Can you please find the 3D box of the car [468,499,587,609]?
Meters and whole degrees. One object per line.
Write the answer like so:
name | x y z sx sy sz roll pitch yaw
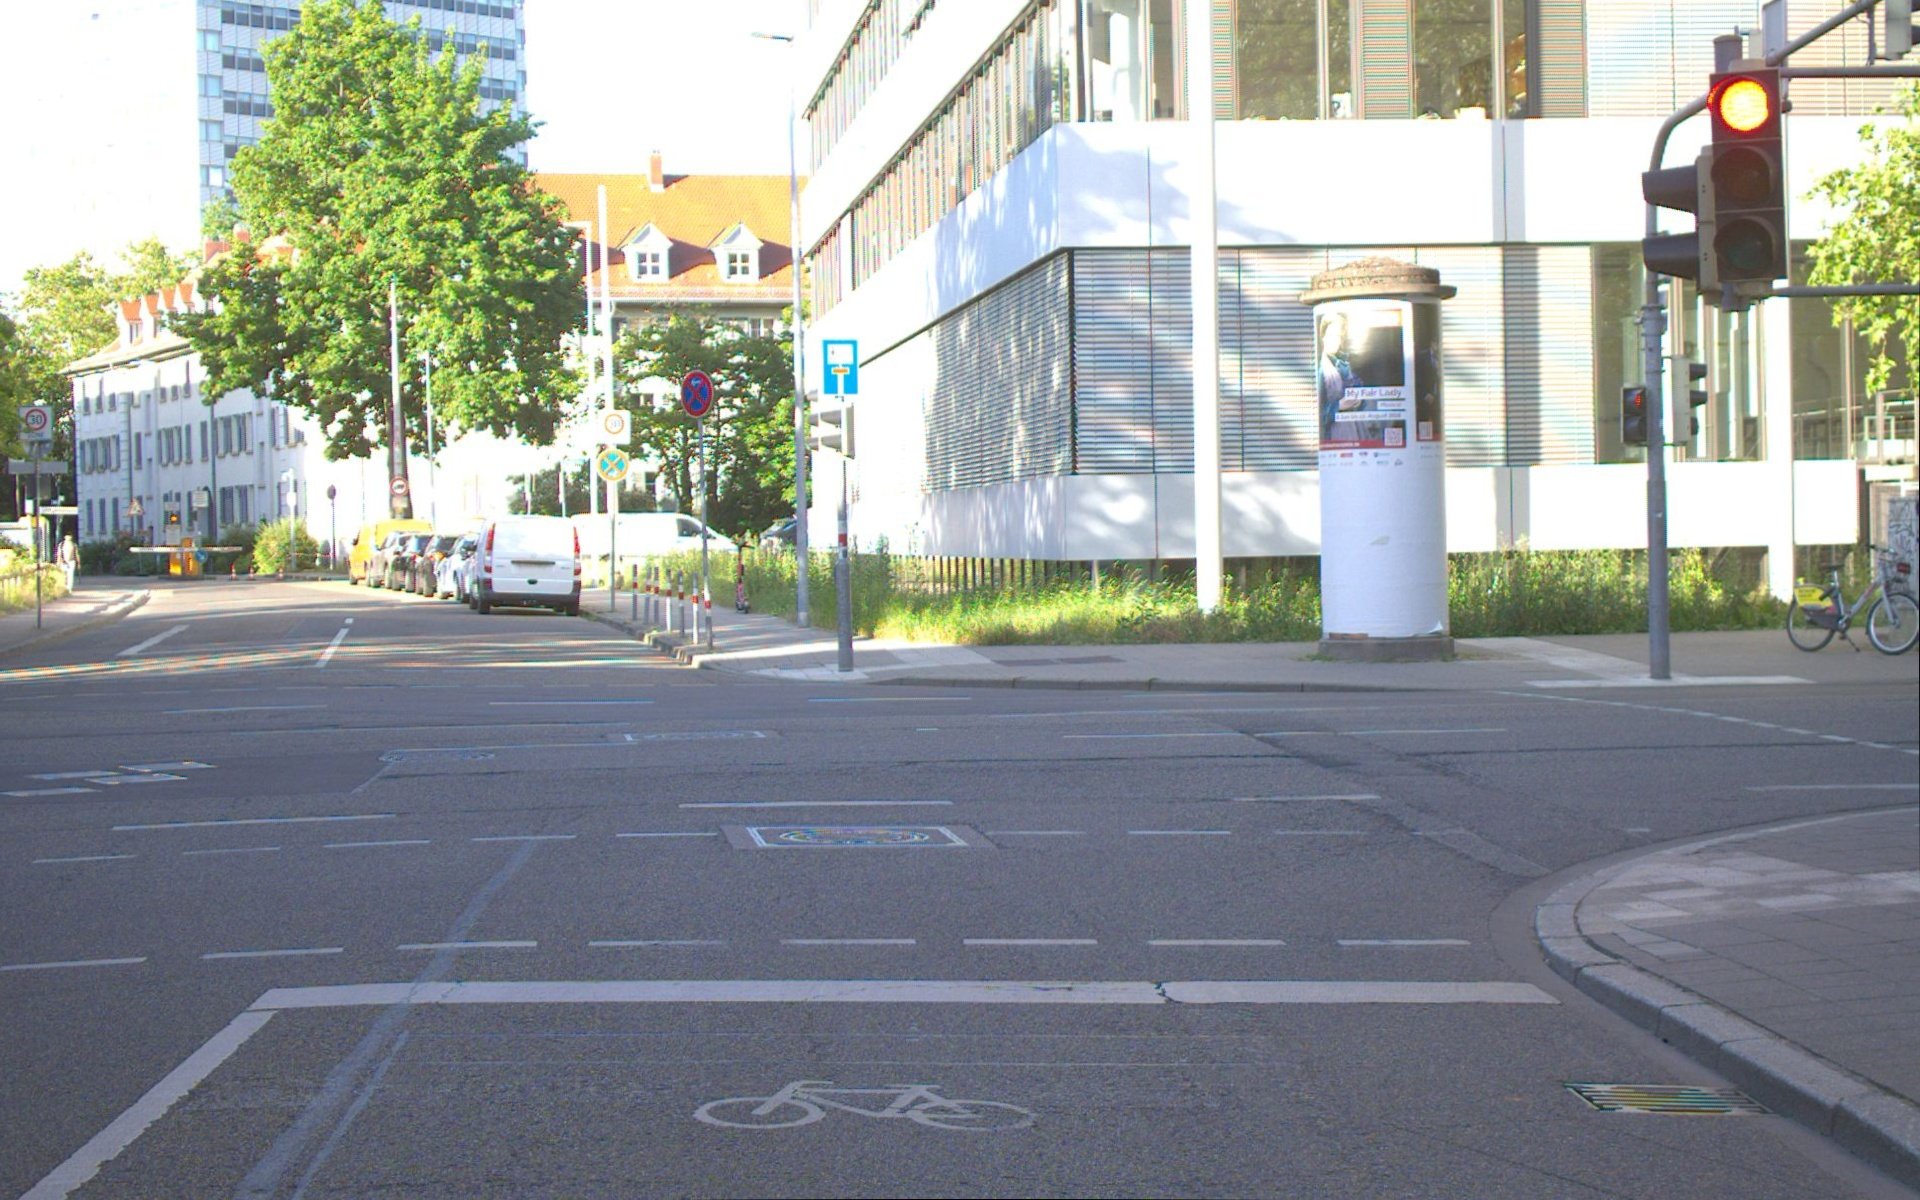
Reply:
car | -8.162 -0.882 64.625 2.066 1.956 4.239 -1 1 -9

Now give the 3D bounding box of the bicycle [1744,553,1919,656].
bicycle | 9.182 0.037 36.098 0.463 1.045 1.914 -2 2 -42

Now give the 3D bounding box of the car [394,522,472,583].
car | -13.181 -1.199 85.820 1.703 1.459 4.239 -1 1 -11

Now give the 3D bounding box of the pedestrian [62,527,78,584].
pedestrian | -23.927 -1.190 92.442 0.380 1.529 0.446 -1 1 -12

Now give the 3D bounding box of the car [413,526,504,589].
car | -11.876 -1.029 81.288 1.703 1.419 4.239 -1 1 -14

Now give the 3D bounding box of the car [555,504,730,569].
car | -9.496 -1.881 102.754 4.880 1.865 2.001 0 0 -16

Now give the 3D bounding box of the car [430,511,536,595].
car | -10.648 -1.053 76.474 1.946 1.789 4.239 -1 1 -13

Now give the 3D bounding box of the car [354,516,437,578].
car | -15.728 -1.485 95.641 2.100 1.652 4.477 -1 1 -11
